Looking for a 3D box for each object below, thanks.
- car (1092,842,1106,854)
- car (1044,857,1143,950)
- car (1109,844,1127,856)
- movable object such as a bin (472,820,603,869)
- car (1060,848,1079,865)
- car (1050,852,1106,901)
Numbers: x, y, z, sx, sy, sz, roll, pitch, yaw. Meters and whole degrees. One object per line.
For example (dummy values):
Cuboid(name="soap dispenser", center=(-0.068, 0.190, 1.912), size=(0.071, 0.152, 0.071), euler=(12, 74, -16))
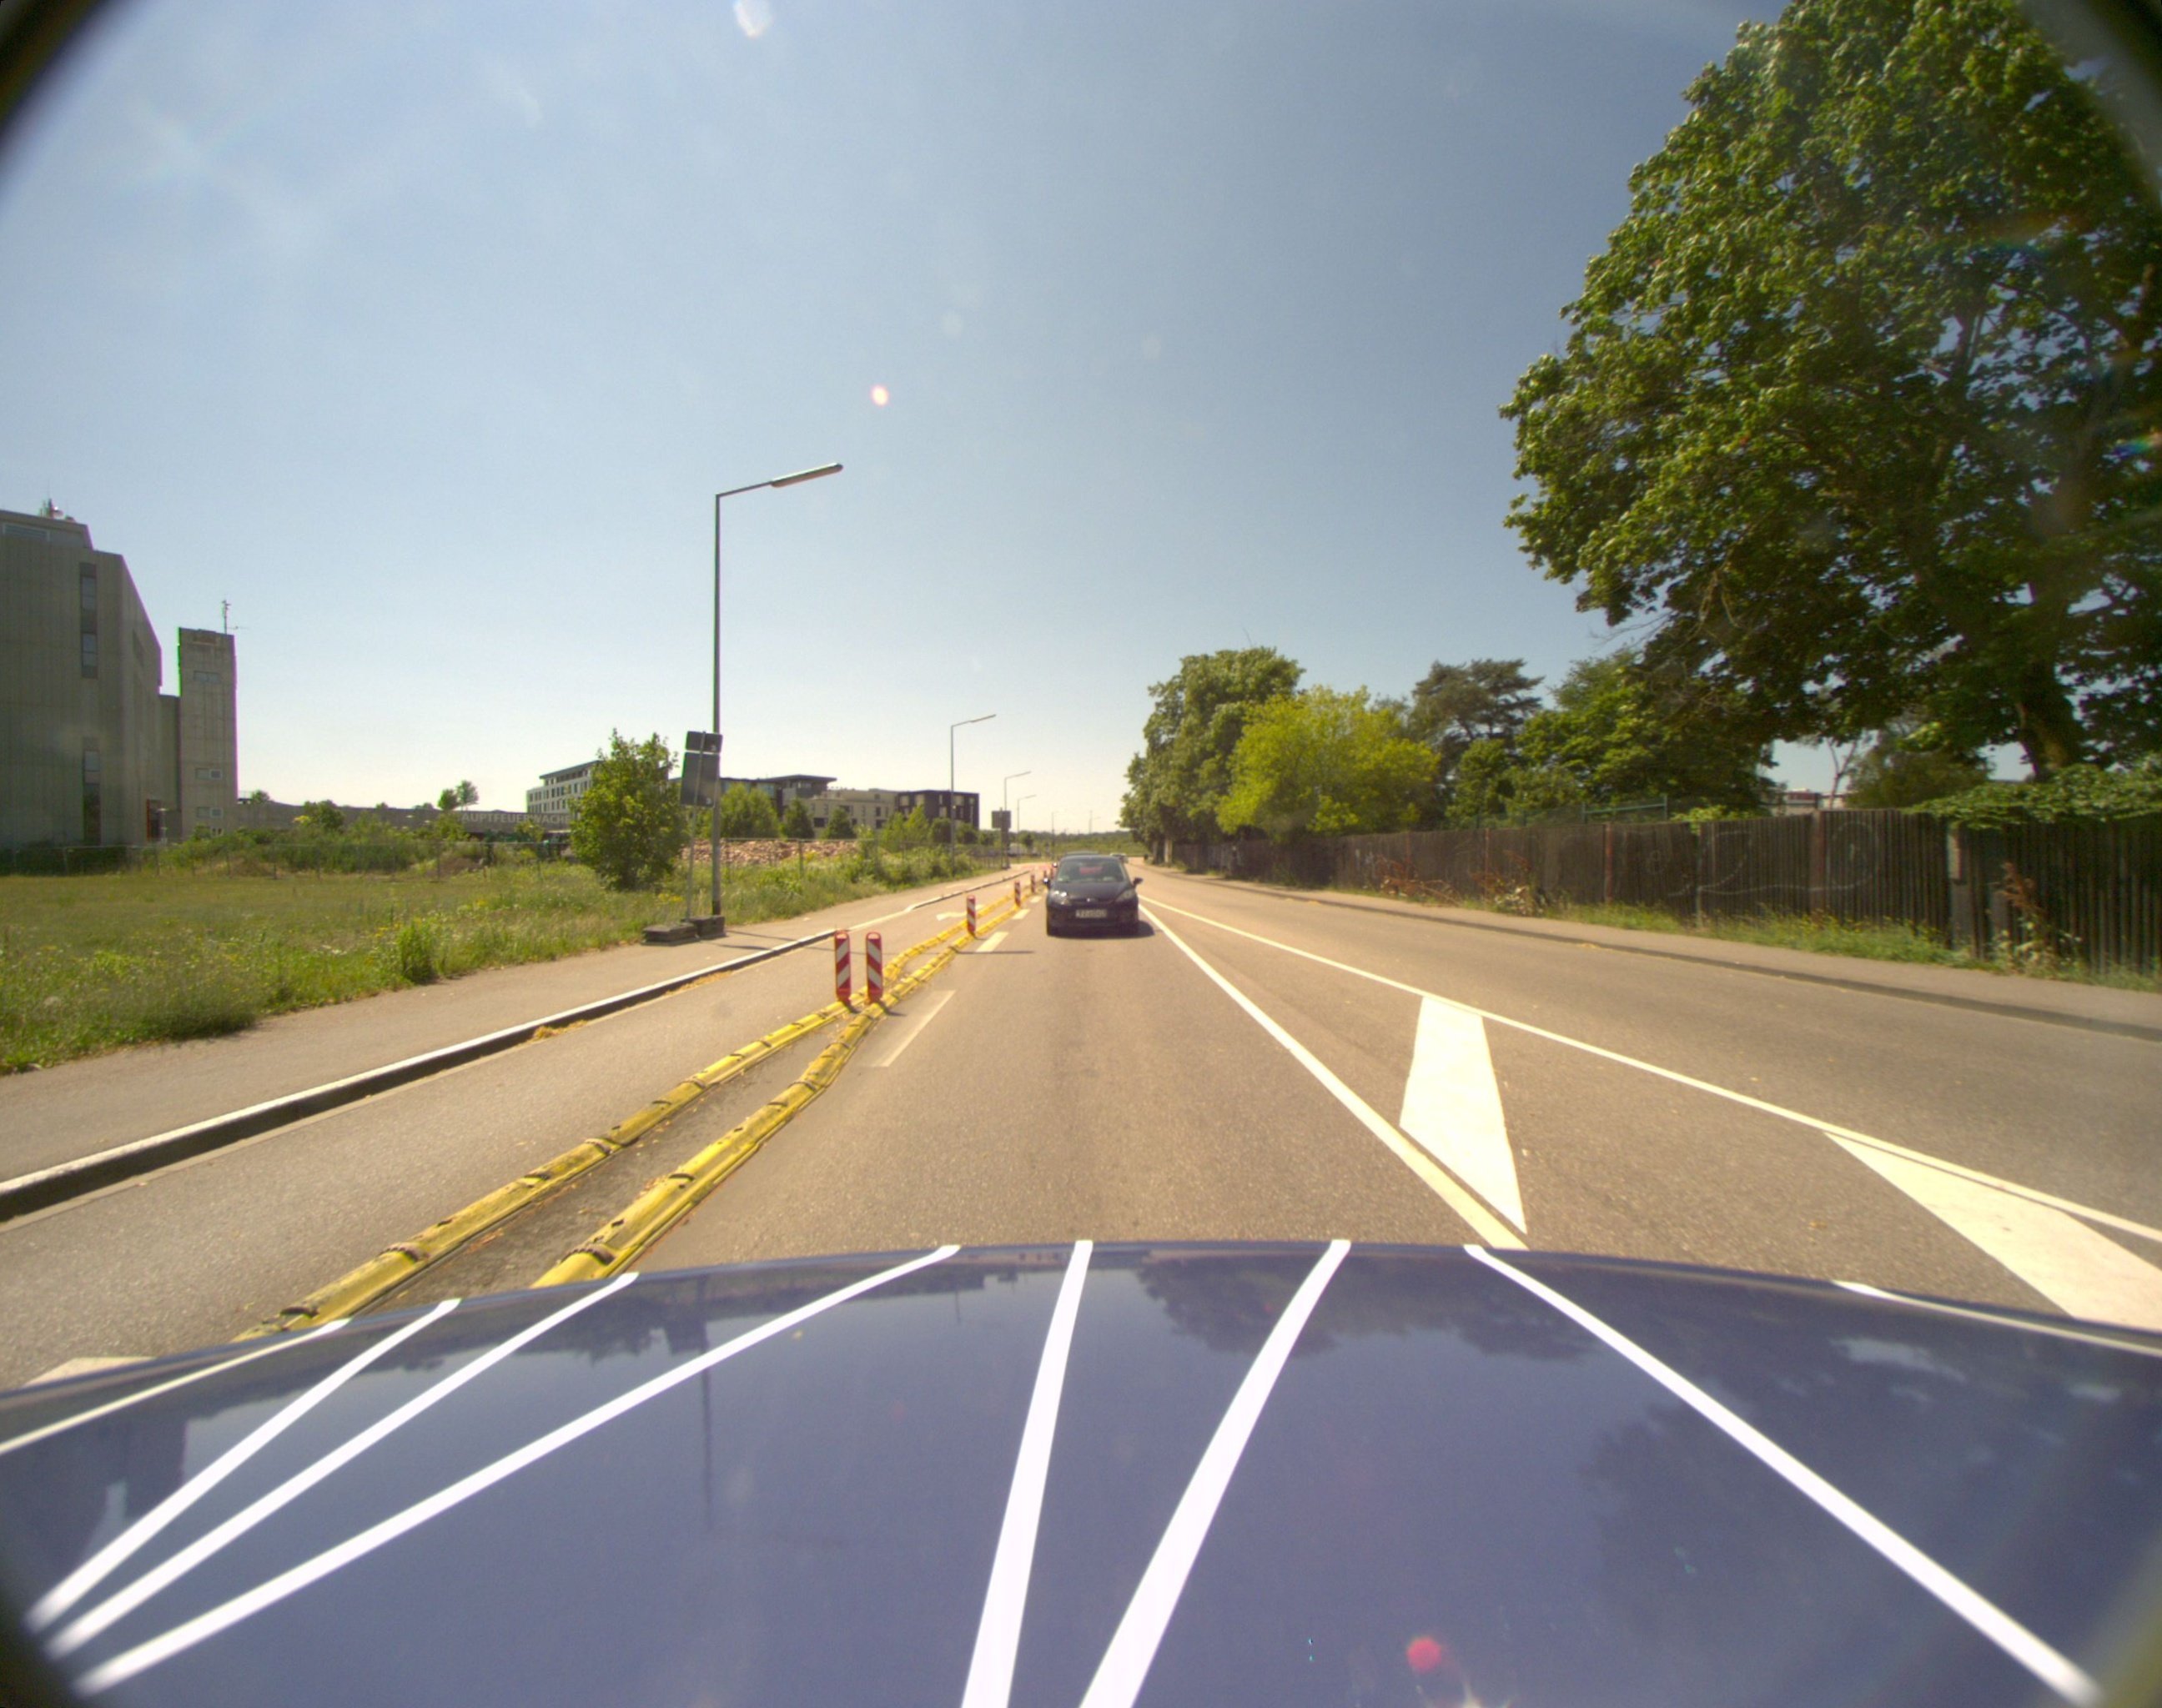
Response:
Cuboid(name="car", center=(2.576, -0.841, 107.313), size=(1.759, 1.536, 3.693), euler=(0, 0, -2))
Cuboid(name="car", center=(0.246, 0.826, 14.452), size=(1.632, 1.499, 3.819), euler=(0, 0, 1))
Cuboid(name="car", center=(4.559, -0.485, 93.837), size=(1.719, 1.455, 3.841), euler=(1, 0, -5))
Cuboid(name="movable object such as a bin", center=(-37.397, -0.689, 52.723), size=(2.810, 3.131, 7.608), euler=(-1, 1, 8))
Cuboid(name="car", center=(-1.148, 0.238, 72.489), size=(1.759, 1.536, 3.693), euler=(0, 0, -2))
Cuboid(name="car", center=(-0.064, 0.689, 25.515), size=(1.720, 1.518, 4.211), euler=(0, 0, 1))
